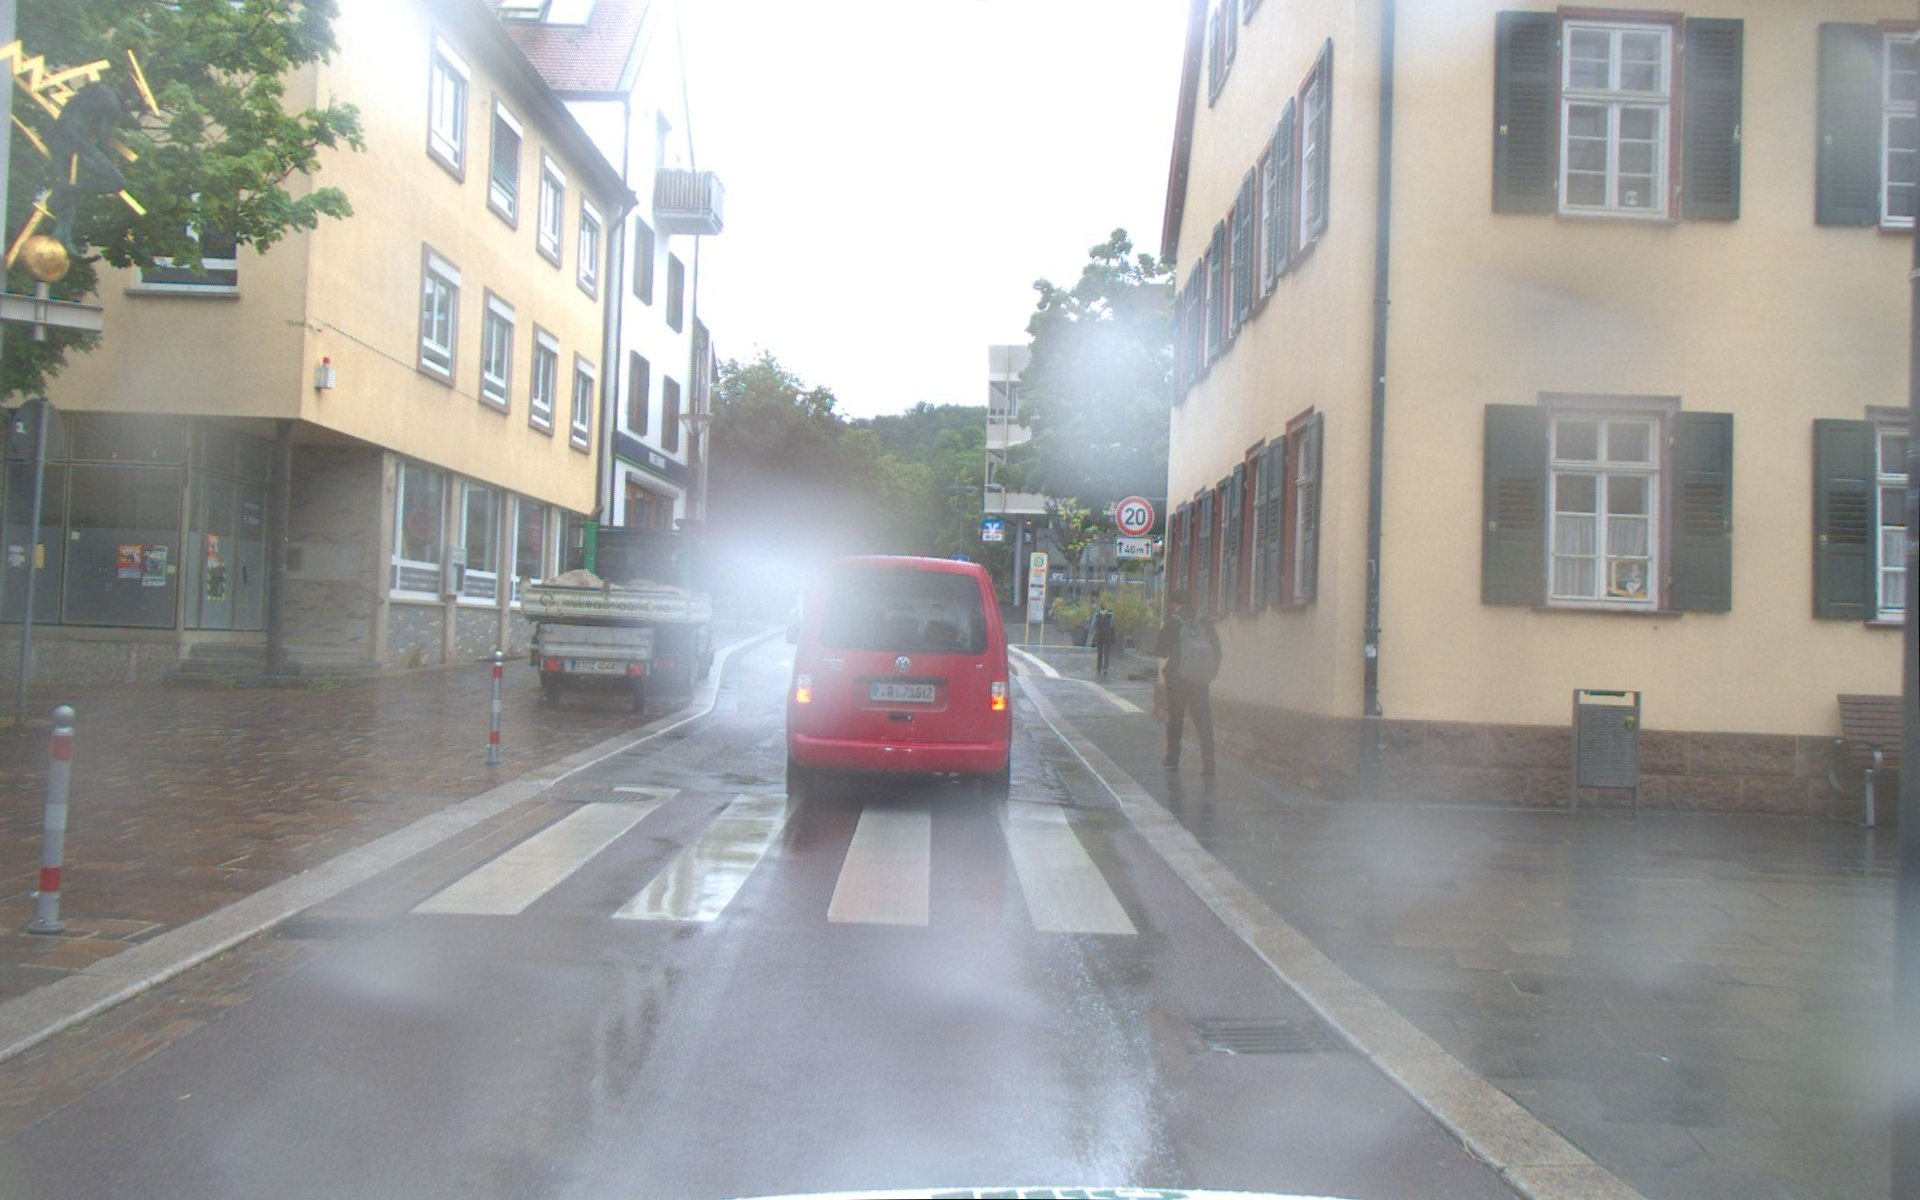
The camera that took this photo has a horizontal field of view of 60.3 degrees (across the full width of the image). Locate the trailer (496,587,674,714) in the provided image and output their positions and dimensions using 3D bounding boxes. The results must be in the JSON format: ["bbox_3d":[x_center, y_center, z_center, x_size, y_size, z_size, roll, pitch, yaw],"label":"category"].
[{"bbox_3d":[-4.479,0.554,20.143,1.694,1.370,3.157,1,1,-5],"label":"trailer"}]

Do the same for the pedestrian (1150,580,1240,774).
[{"bbox_3d":[2.163,0.691,15.318,0.699,1.722,0.868,2,0,2],"label":"pedestrian"}]

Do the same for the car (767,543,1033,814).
[{"bbox_3d":[-0.565,0.571,13.791,1.825,1.862,4.181,2,0,-4],"label":"car"}]

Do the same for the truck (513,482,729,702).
[{"bbox_3d":[-4.902,-0.148,25.000,2.425,2.844,6.592,1,1,-5],"label":"truck"}]

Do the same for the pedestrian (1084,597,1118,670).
[{"bbox_3d":[3.237,0.762,38.048,0.713,1.645,0.694,1,-1,2],"label":"pedestrian"}]
